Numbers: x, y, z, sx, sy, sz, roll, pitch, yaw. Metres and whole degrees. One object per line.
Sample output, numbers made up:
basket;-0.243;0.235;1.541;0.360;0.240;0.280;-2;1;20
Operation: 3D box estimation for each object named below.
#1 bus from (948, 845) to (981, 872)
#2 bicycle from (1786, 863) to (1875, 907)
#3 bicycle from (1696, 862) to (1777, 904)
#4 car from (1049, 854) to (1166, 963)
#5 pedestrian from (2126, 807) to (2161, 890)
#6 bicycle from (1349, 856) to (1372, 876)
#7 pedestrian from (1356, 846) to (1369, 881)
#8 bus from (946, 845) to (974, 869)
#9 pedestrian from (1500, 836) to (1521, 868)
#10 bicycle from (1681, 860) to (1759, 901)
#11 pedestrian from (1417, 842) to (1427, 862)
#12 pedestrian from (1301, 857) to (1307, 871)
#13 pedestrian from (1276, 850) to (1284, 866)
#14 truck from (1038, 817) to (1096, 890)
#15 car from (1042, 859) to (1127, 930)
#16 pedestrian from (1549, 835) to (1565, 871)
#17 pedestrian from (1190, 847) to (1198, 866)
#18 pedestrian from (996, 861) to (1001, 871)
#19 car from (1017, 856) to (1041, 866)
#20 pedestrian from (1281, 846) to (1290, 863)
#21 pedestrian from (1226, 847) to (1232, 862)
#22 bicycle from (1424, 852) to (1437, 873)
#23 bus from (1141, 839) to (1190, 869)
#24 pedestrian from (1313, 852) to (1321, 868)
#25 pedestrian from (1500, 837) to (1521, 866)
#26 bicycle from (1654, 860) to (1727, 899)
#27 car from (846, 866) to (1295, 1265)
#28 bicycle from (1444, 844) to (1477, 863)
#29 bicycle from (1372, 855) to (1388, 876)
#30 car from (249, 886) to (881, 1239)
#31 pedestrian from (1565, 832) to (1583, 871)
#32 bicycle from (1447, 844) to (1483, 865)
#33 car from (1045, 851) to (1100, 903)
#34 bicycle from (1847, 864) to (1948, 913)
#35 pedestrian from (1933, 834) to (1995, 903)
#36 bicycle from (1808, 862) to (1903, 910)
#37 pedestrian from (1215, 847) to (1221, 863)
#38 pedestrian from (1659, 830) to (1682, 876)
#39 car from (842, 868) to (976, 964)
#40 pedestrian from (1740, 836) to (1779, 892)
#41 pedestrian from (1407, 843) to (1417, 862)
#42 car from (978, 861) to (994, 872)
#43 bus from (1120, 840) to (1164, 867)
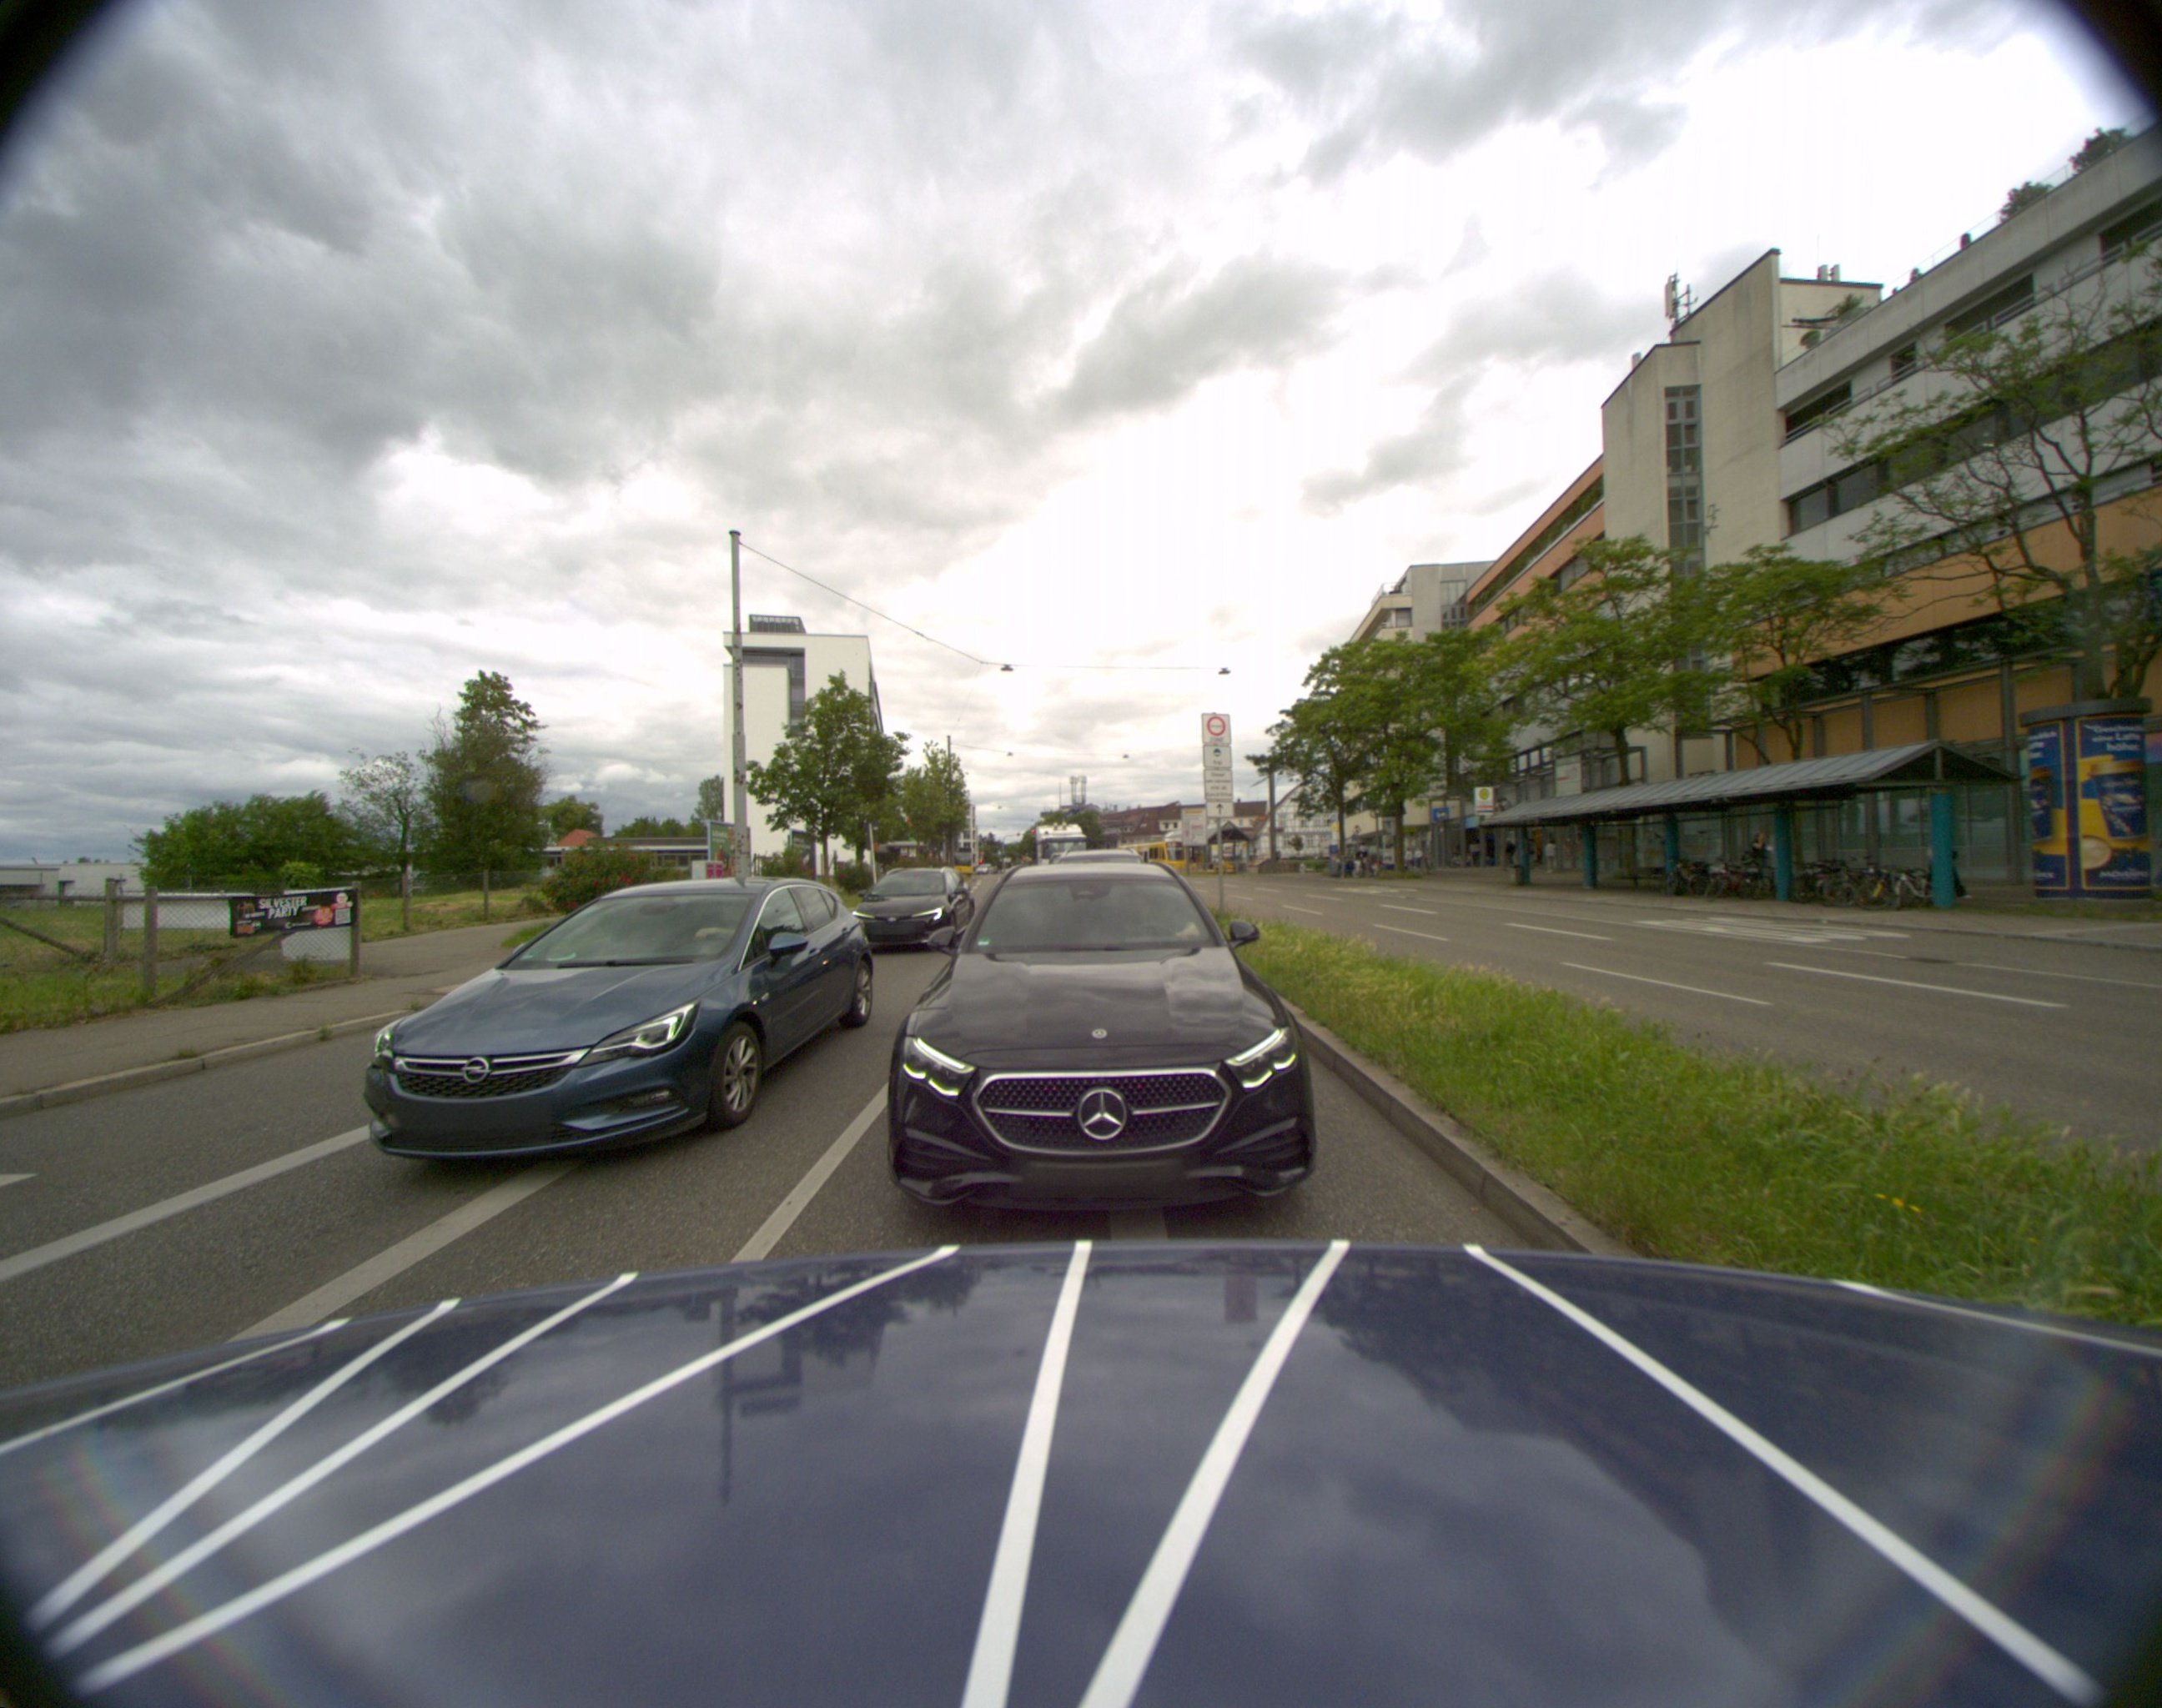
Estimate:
bus;-12.818;0.395;82.727;2.969;2.616;12.137;-2;1;-11
bicycle;19.026;0.775;19.310;1.735;1.035;0.549;-2;1;-2
bicycle;17.948;0.791;20.811;1.735;1.035;0.549;-3;1;-2
car;0.393;0.823;13.483;1.734;1.601;4.000;-2;0;0
pedestrian;26.398;-0.153;18.563;0.710;2.002;0.793;-2;1;-10
bicycle;15.478;0.656;42.018;0.593;1.071;2.041;0;1;38
pedestrian;18.290;0.624;49.375;0.590;2.294;0.608;-1;1;-2
bus;-15.224;0.351;95.050;2.969;2.616;12.911;-2;1;-11
pedestrian;24.568;-0.117;43.485;0.765;1.835;0.752;-1;1;1
bicycle;18.284;0.744;21.744;1.735;1.035;0.549;-4;1;-2
pedestrian;25.967;-0.148;57.834;0.555;1.485;0.454;-1;1;8
pedestrian;18.154;0.818;61.939;0.341;1.172;0.369;-1;1;-9
pedestrian;19.915;0.379;76.182;0.577;1.533;0.583;-1;1;-8
truck;-0.843;-0.044;37.825;2.490;3.258;7.428;-1;0;-4
car;0.045;0.913;18.910;1.865;1.520;3.999;-1;0;-1
pedestrian;24.099;-0.047;38.490;0.648;1.799;0.761;0;1;34
pedestrian;11.920;0.237;80.293;0.637;2.002;0.667;-1;1;-20
pedestrian;-18.392;2.679;170.008;0.975;2.002;0.991;-2;1;-13
car;-9.574;1.288;141.002;3.989;1.674;2.004;-2;1;32
pedestrian;23.687;0.062;87.959;0.879;2.002;1.010;-1;1;6
pedestrian;19.553;0.096;100.310;0.742;2.002;0.939;-1;1;11
bicycle;19.486;0.470;42.386;0.593;1.119;2.040;0;1;24
bus;8.698;0.007;79.016;2.556;2.966;8.498;-1;0;-11
pedestrian;22.241;0.578;71.643;0.577;1.533;0.583;-1;1;-8
pedestrian;25.406;-0.167;44.957;0.765;1.673;0.752;-1;1;1
bicycle;18.205;0.749;22.704;1.735;1.035;0.549;-3;1;-2
car;-0.052;0.886;5.191;1.793;1.507;4.249;-1;0;0
bicycle;27.756;-0.026;55.553;2.138;1.358;0.620;-2;1;26
bicycle;16.401;0.624;41.647;0.593;1.071;2.041;0;1;29
car;-2.913;1.052;5.528;1.826;1.402;4.000;-2;0;0
pedestrian;25.494;-0.149;39.303;0.566;2.002;0.611;-1;1;6
bicycle;26.993;0.031;53.402;2.139;1.367;0.620;-2;1;18
car;-0.366;0.778;28.346;1.865;1.773;3.999;-1;0;-2
bicycle;18.685;0.785;17.399;1.735;1.035;0.549;-2;1;-2
pedestrian;21.501;0.345;18.513;0.678;1.640;0.721;-2;1;-3
bicycle;18.626;0.753;18.285;1.735;1.035;0.549;-3;1;-2
pedestrian;18.178;0.132;100.895;0.742;2.002;0.939;-1;1;11
pedestrian;25.729;-0.050;33.161;0.566;2.002;0.611;-1;1;6
car;-3.094;1.051;14.461;1.665;1.448;3.921;-2;0;-1
pedestrian;21.683;0.307;24.301;0.531;1.776;0.770;-1;1;-7
pedestrian;25.305;-0.125;58.120;0.555;1.485;0.454;-1;1;8
car;-14.924;1.991;119.237;1.853;1.606;3.778;-3;0;-14
bus;6.933;-0.036;87.952;2.556;2.966;9.790;-1;0;-11
